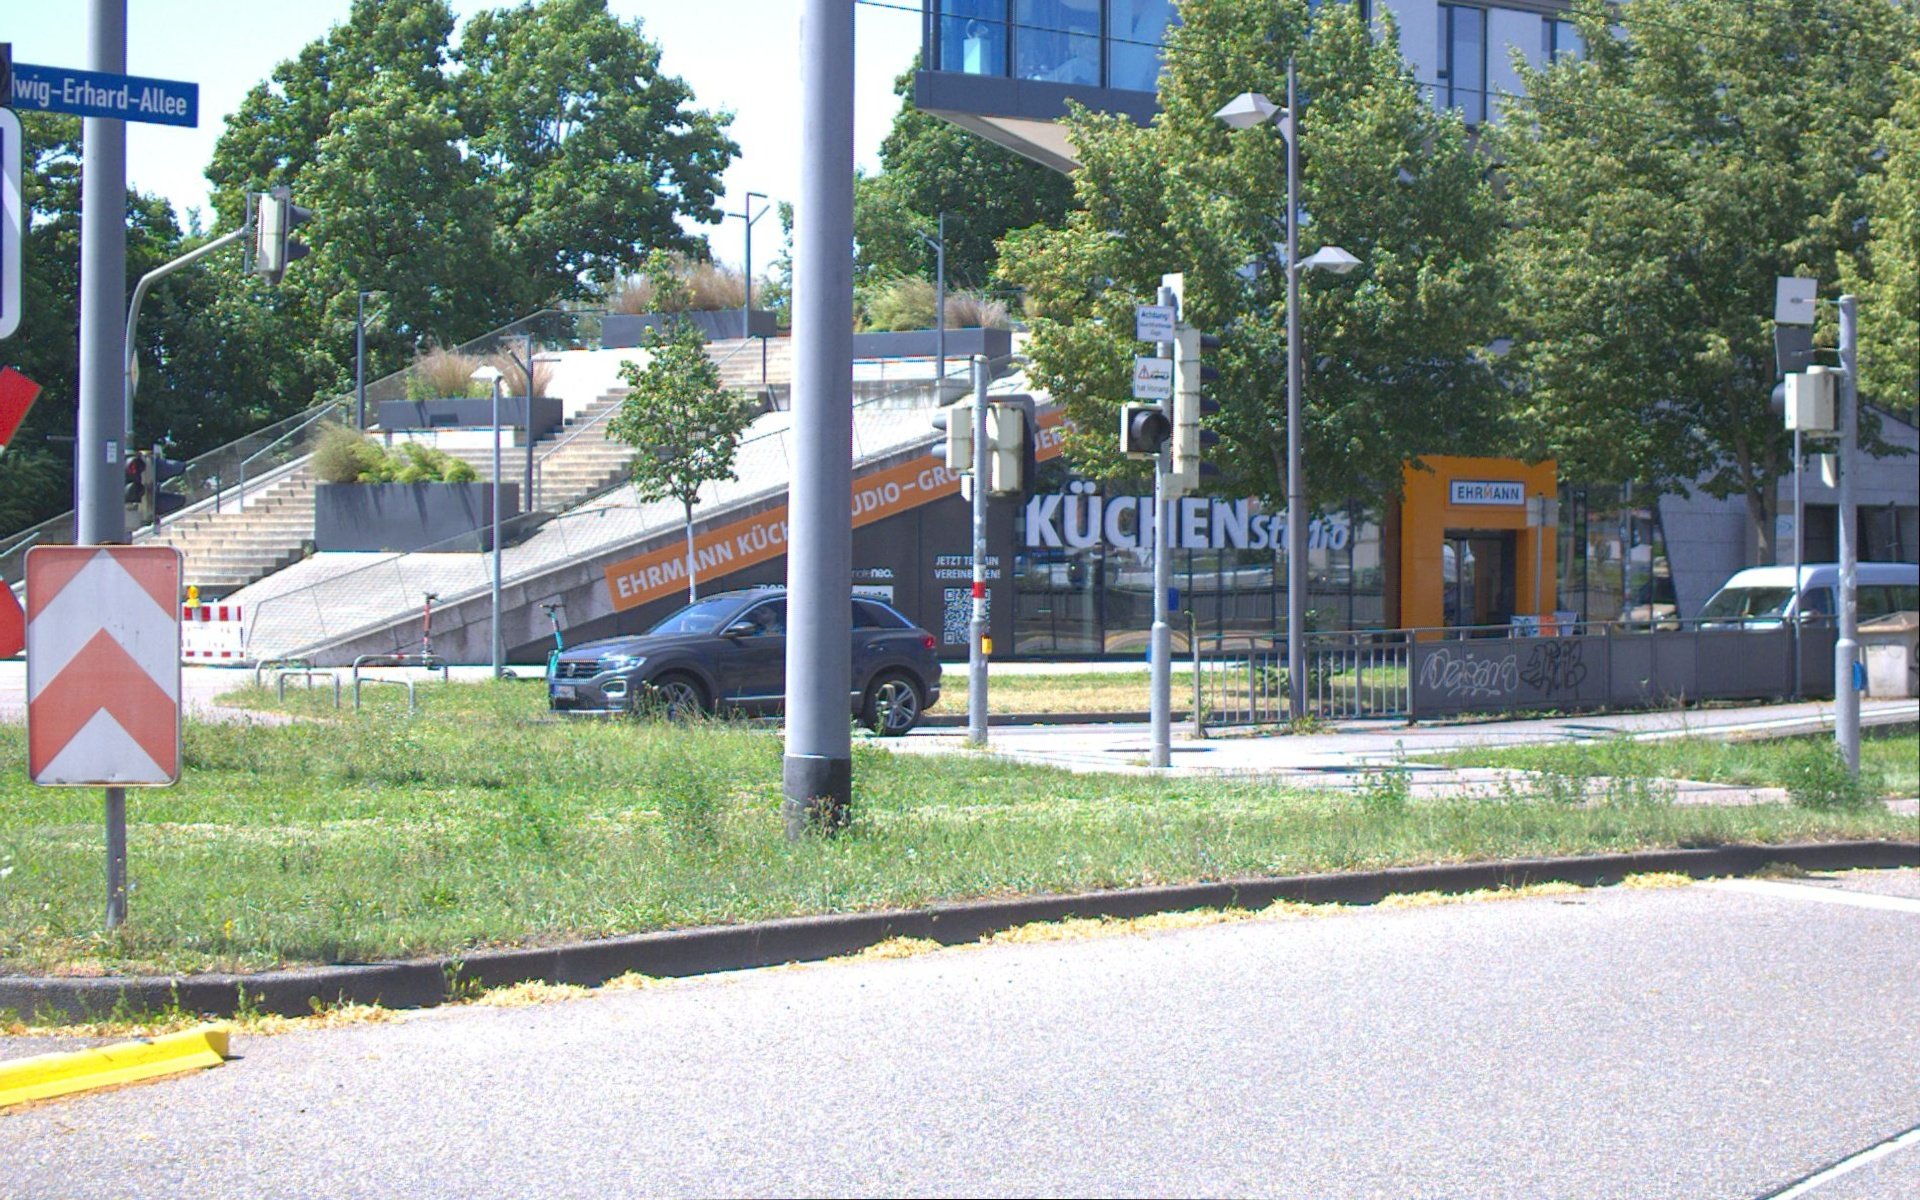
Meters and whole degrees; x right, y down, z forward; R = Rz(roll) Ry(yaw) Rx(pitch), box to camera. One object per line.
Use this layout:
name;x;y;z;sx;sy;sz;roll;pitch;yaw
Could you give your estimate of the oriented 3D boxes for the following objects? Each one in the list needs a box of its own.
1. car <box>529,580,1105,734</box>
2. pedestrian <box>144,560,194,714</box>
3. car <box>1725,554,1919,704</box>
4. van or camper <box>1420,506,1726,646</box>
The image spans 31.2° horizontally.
car;-1.470;0.592;36.518;5.817;1.512;2.000;1;1;-29
pedestrian;-8.989;0.417;39.087;0.448;1.733;0.291;1;0;-37
car;13.964;0.417;50.692;5.524;2.099;2.000;1;1;-35
van or camper;12.921;-0.482;72.183;6.766;2.812;2.382;1;1;-38
